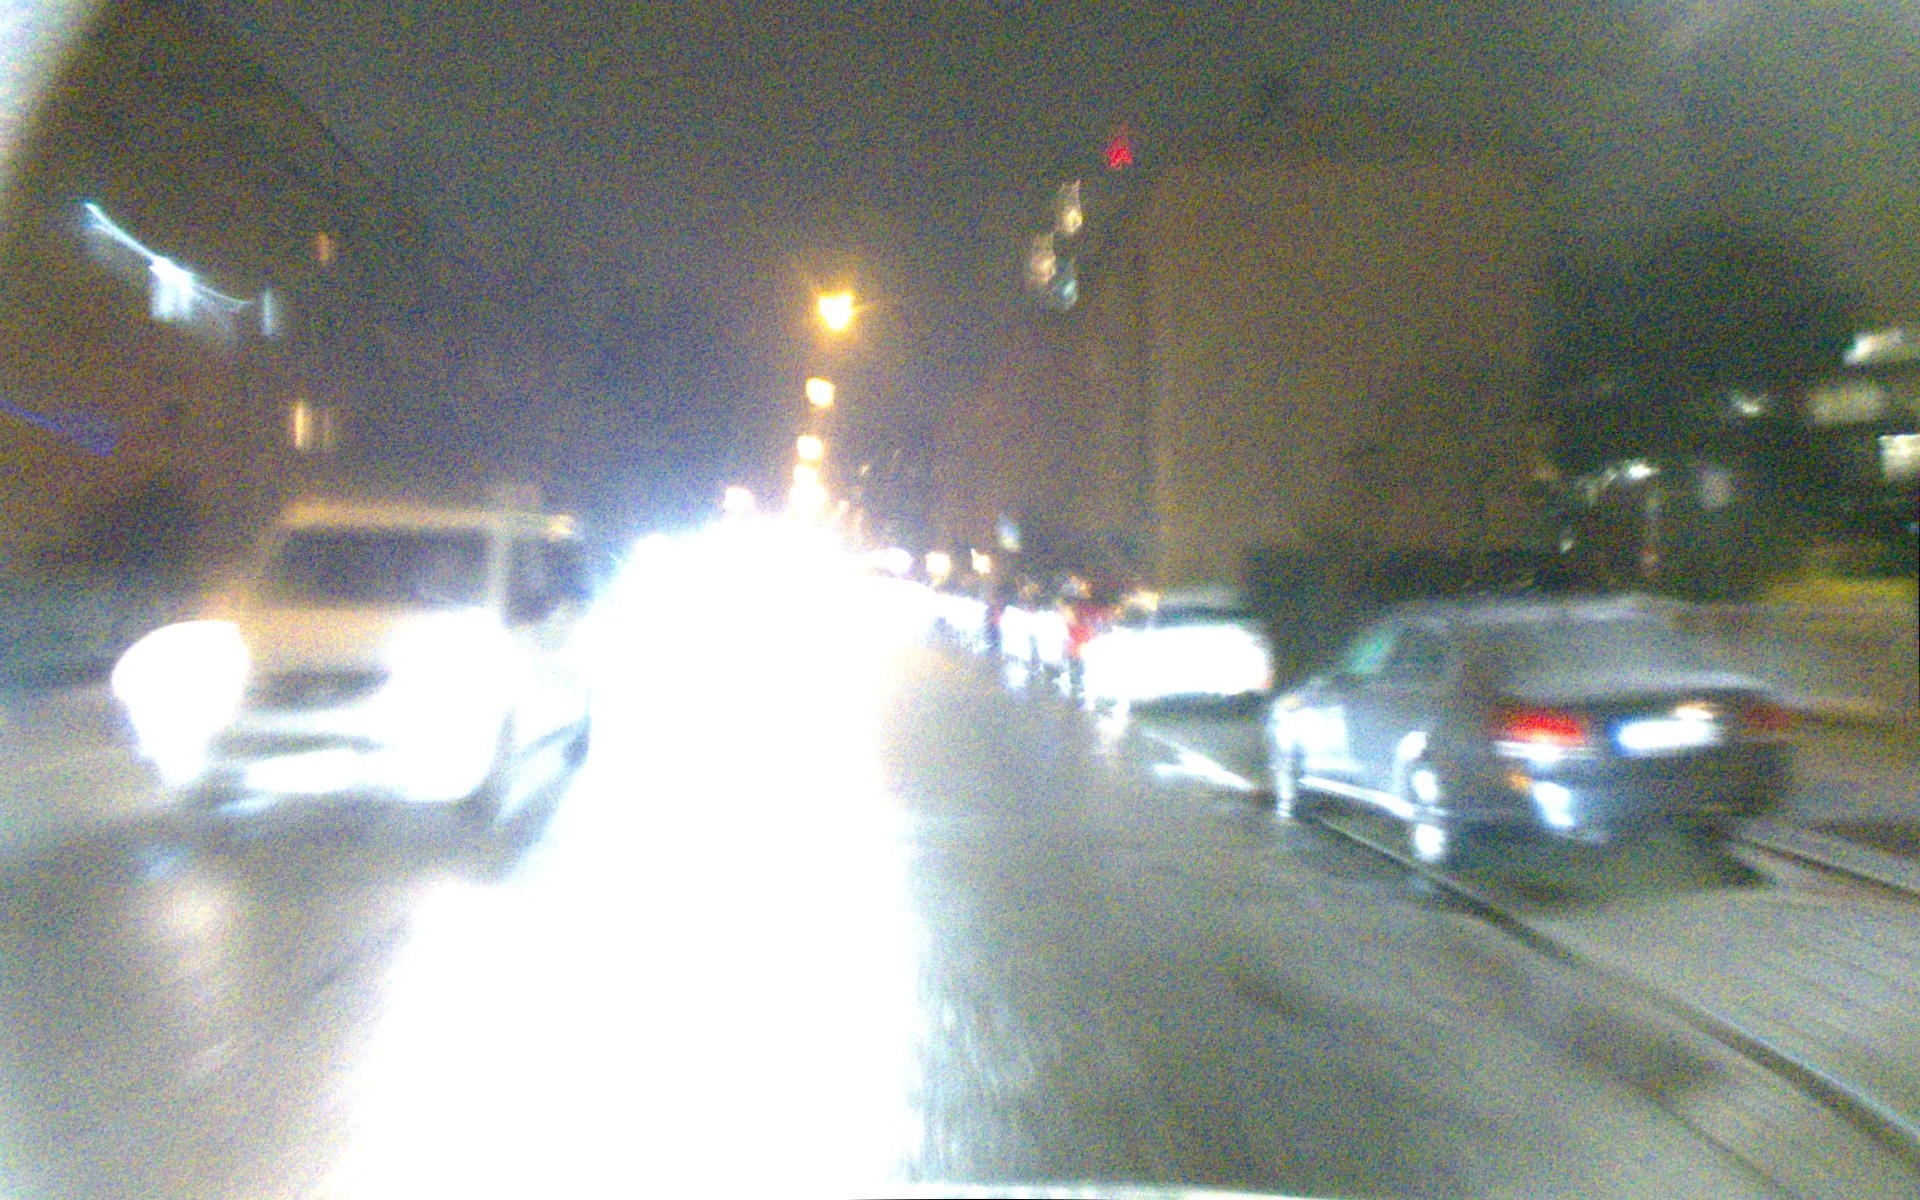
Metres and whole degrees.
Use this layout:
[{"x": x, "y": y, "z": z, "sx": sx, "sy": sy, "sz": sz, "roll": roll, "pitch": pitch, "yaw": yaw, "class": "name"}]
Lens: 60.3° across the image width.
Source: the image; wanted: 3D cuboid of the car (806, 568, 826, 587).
[{"x": -13.498, "y": -2.121, "z": 154.460, "sx": 1.777, "sy": 1.739, "sz": 3.799, "roll": -2, "pitch": 1, "yaw": -6, "class": "car"}]

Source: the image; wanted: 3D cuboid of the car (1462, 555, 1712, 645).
[{"x": 11.854, "y": -0.022, "z": 31.383, "sx": 4.135, "sy": 1.645, "sz": 1.684, "roll": 0, "pitch": 1, "yaw": -6, "class": "car"}]

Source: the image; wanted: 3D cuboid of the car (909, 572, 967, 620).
[{"x": -0.767, "y": -0.171, "z": 54.629, "sx": 1.597, "sy": 1.492, "sz": 4.506, "roll": -2, "pitch": 1, "yaw": -5, "class": "car"}]

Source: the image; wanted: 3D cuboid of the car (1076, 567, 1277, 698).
[{"x": 2.703, "y": 0.368, "z": 21.663, "sx": 1.679, "sy": 1.515, "sz": 4.432, "roll": -1, "pitch": 0, "yaw": -5, "class": "car"}]

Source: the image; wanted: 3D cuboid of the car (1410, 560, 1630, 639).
[{"x": 11.343, "y": -0.031, "z": 33.621, "sx": 3.909, "sy": 1.547, "sz": 1.684, "roll": 0, "pitch": 1, "yaw": -6, "class": "car"}]

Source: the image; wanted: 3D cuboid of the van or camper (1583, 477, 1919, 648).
[{"x": 12.748, "y": -0.588, "z": 26.176, "sx": 4.960, "sy": 2.571, "sz": 2.171, "roll": 0, "pitch": 1, "yaw": -2, "class": "van or camper"}]

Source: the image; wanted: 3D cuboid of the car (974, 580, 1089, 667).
[{"x": 1.375, "y": 0.420, "z": 33.431, "sx": 1.720, "sy": 1.555, "sz": 4.149, "roll": -2, "pitch": 1, "yaw": -5, "class": "car"}]

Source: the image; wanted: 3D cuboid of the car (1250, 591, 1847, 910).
[{"x": 3.384, "y": 0.733, "z": 10.665, "sx": 1.755, "sy": 1.474, "sz": 4.785, "roll": -2, "pitch": 1, "yaw": -5, "class": "car"}]

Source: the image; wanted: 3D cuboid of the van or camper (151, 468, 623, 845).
[{"x": -3.765, "y": 0.296, "z": 11.898, "sx": 1.832, "sy": 2.140, "sz": 4.940, "roll": 0, "pitch": 1, "yaw": -2, "class": "van or camper"}]

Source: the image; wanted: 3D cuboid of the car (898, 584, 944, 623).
[{"x": -1.539, "y": 0.112, "z": 64.512, "sx": 1.467, "sy": 1.412, "sz": 3.743, "roll": -2, "pitch": 1, "yaw": -6, "class": "car"}]

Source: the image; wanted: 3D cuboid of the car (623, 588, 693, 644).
[{"x": -9.030, "y": 0.441, "z": 49.749, "sx": 1.547, "sy": 1.482, "sz": 4.640, "roll": -2, "pitch": 1, "yaw": -4, "class": "car"}]

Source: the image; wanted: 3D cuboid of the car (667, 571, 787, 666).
[{"x": -4.075, "y": 0.279, "z": 29.527, "sx": 1.761, "sy": 1.486, "sz": 4.574, "roll": 2, "pitch": 0, "yaw": -4, "class": "car"}]

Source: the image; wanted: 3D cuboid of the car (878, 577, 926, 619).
[{"x": -2.506, "y": -0.120, "z": 70.684, "sx": 1.785, "sy": 1.703, "sz": 3.995, "roll": -2, "pitch": 1, "yaw": -6, "class": "car"}]

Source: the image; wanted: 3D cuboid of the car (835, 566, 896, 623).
[{"x": -3.166, "y": -0.221, "z": 55.181, "sx": 1.954, "sy": 1.713, "sz": 3.998, "roll": 0, "pitch": 3, "yaw": -4, "class": "car"}]

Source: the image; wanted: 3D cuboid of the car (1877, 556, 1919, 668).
[{"x": 14.483, "y": 0.187, "z": 21.933, "sx": 1.793, "sy": 1.574, "sz": 4.864, "roll": 0, "pitch": 1, "yaw": -3, "class": "car"}]

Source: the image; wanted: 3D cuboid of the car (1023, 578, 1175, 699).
[{"x": 2.218, "y": 0.563, "z": 27.438, "sx": 1.680, "sy": 1.737, "sz": 4.181, "roll": -2, "pitch": 1, "yaw": -6, "class": "car"}]

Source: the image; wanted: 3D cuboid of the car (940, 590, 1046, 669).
[{"x": 0.710, "y": 0.631, "z": 38.591, "sx": 1.845, "sy": 1.600, "sz": 4.522, "roll": -2, "pitch": 1, "yaw": -6, "class": "car"}]

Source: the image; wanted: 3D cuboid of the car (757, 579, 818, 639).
[{"x": -4.714, "y": 0.234, "z": 45.397, "sx": 1.517, "sy": 1.525, "sz": 2.791, "roll": 2, "pitch": 1, "yaw": -4, "class": "car"}]

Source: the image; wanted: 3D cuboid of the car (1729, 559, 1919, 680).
[{"x": 11.962, "y": 0.206, "z": 22.253, "sx": 1.531, "sy": 1.495, "sz": 3.406, "roll": 0, "pitch": 1, "yaw": -3, "class": "car"}]

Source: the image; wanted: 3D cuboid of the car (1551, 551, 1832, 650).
[{"x": 12.679, "y": -0.016, "z": 28.794, "sx": 4.135, "sy": 1.645, "sz": 1.804, "roll": 0, "pitch": 1, "yaw": -6, "class": "car"}]
